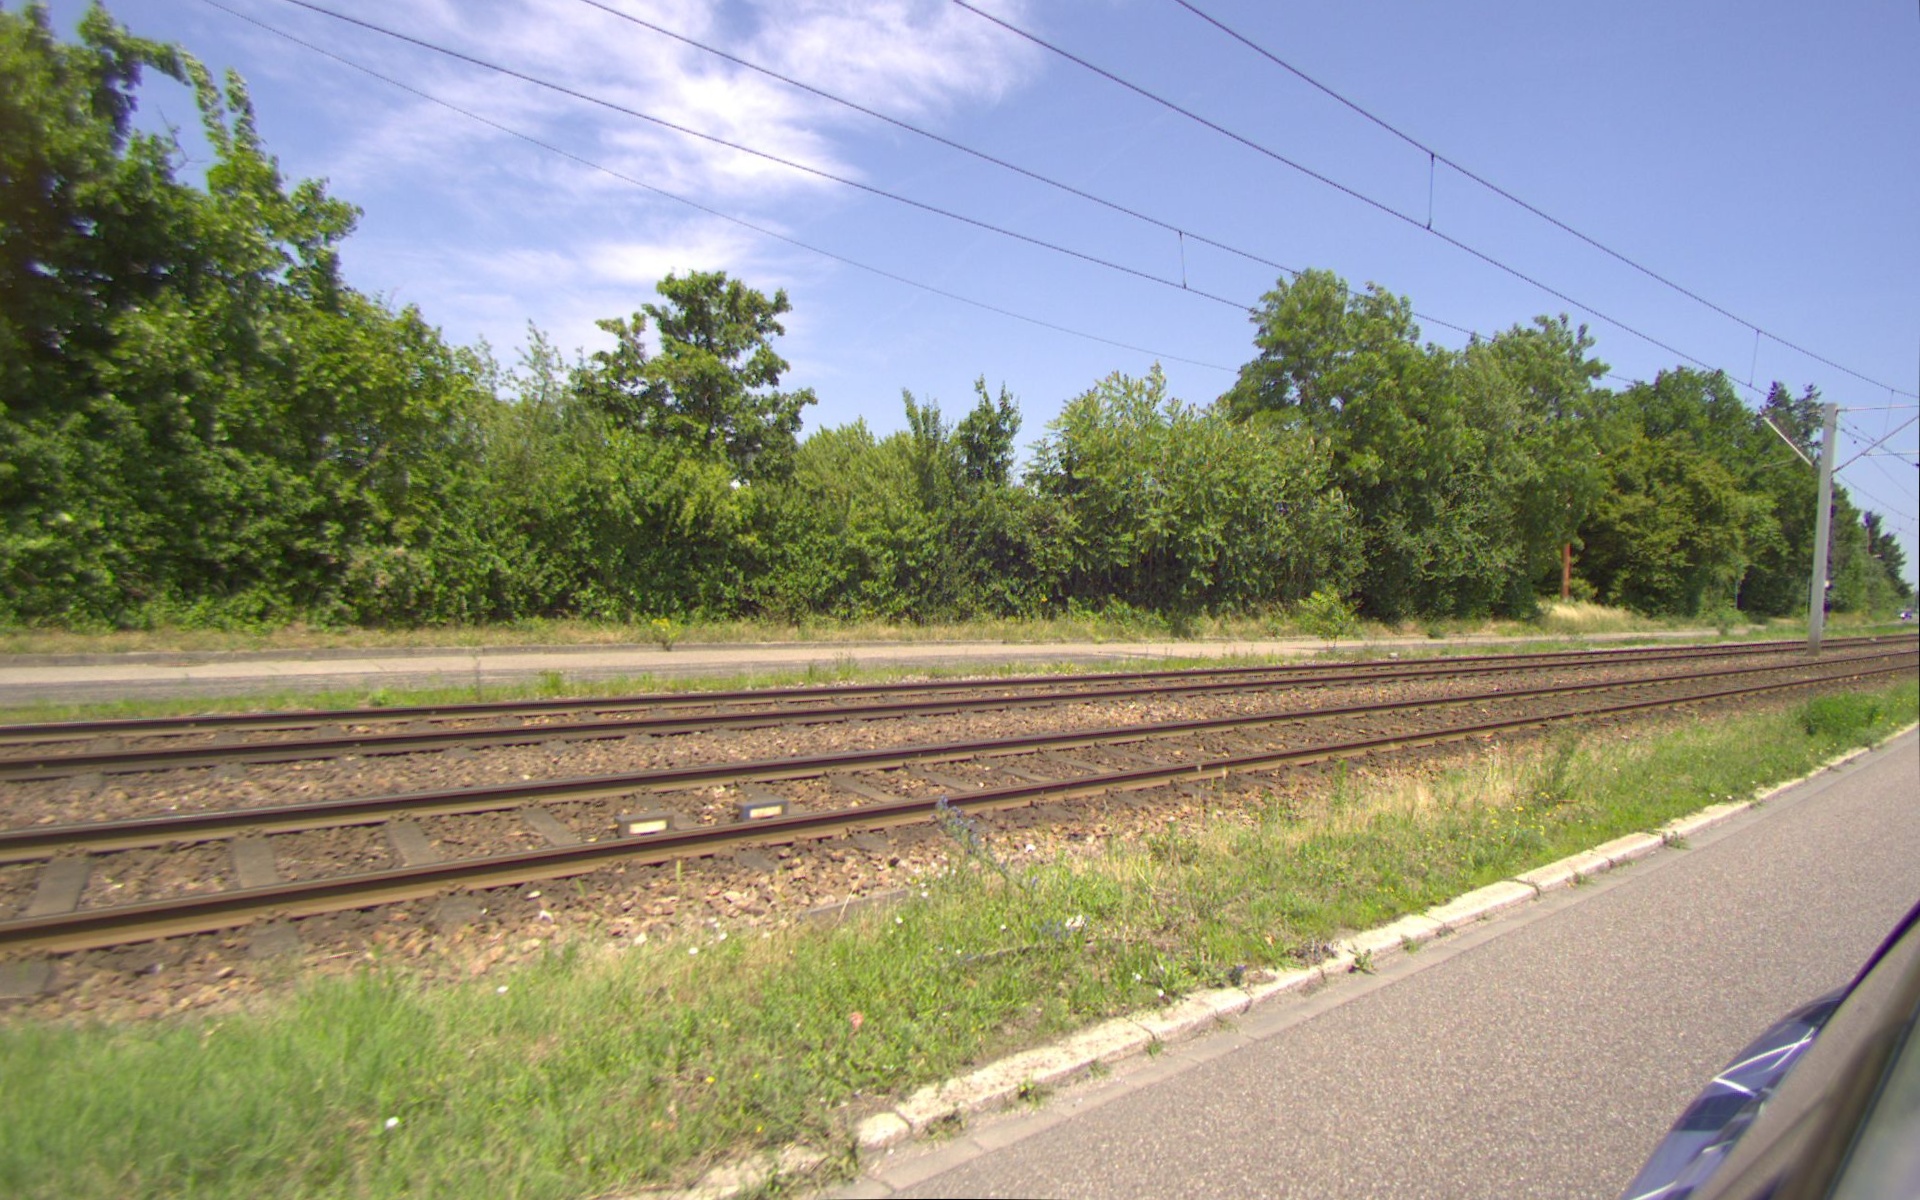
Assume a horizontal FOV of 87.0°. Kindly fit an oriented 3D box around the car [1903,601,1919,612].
[{"bbox_3d":[148.857,1.043,158.115,3.933,1.742,1.995,0,0,-43],"label":"car"}]

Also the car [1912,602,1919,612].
[{"bbox_3d":[171.357,1.194,180.771,1.941,1.716,3.937,0,0,44],"label":"car"}]
